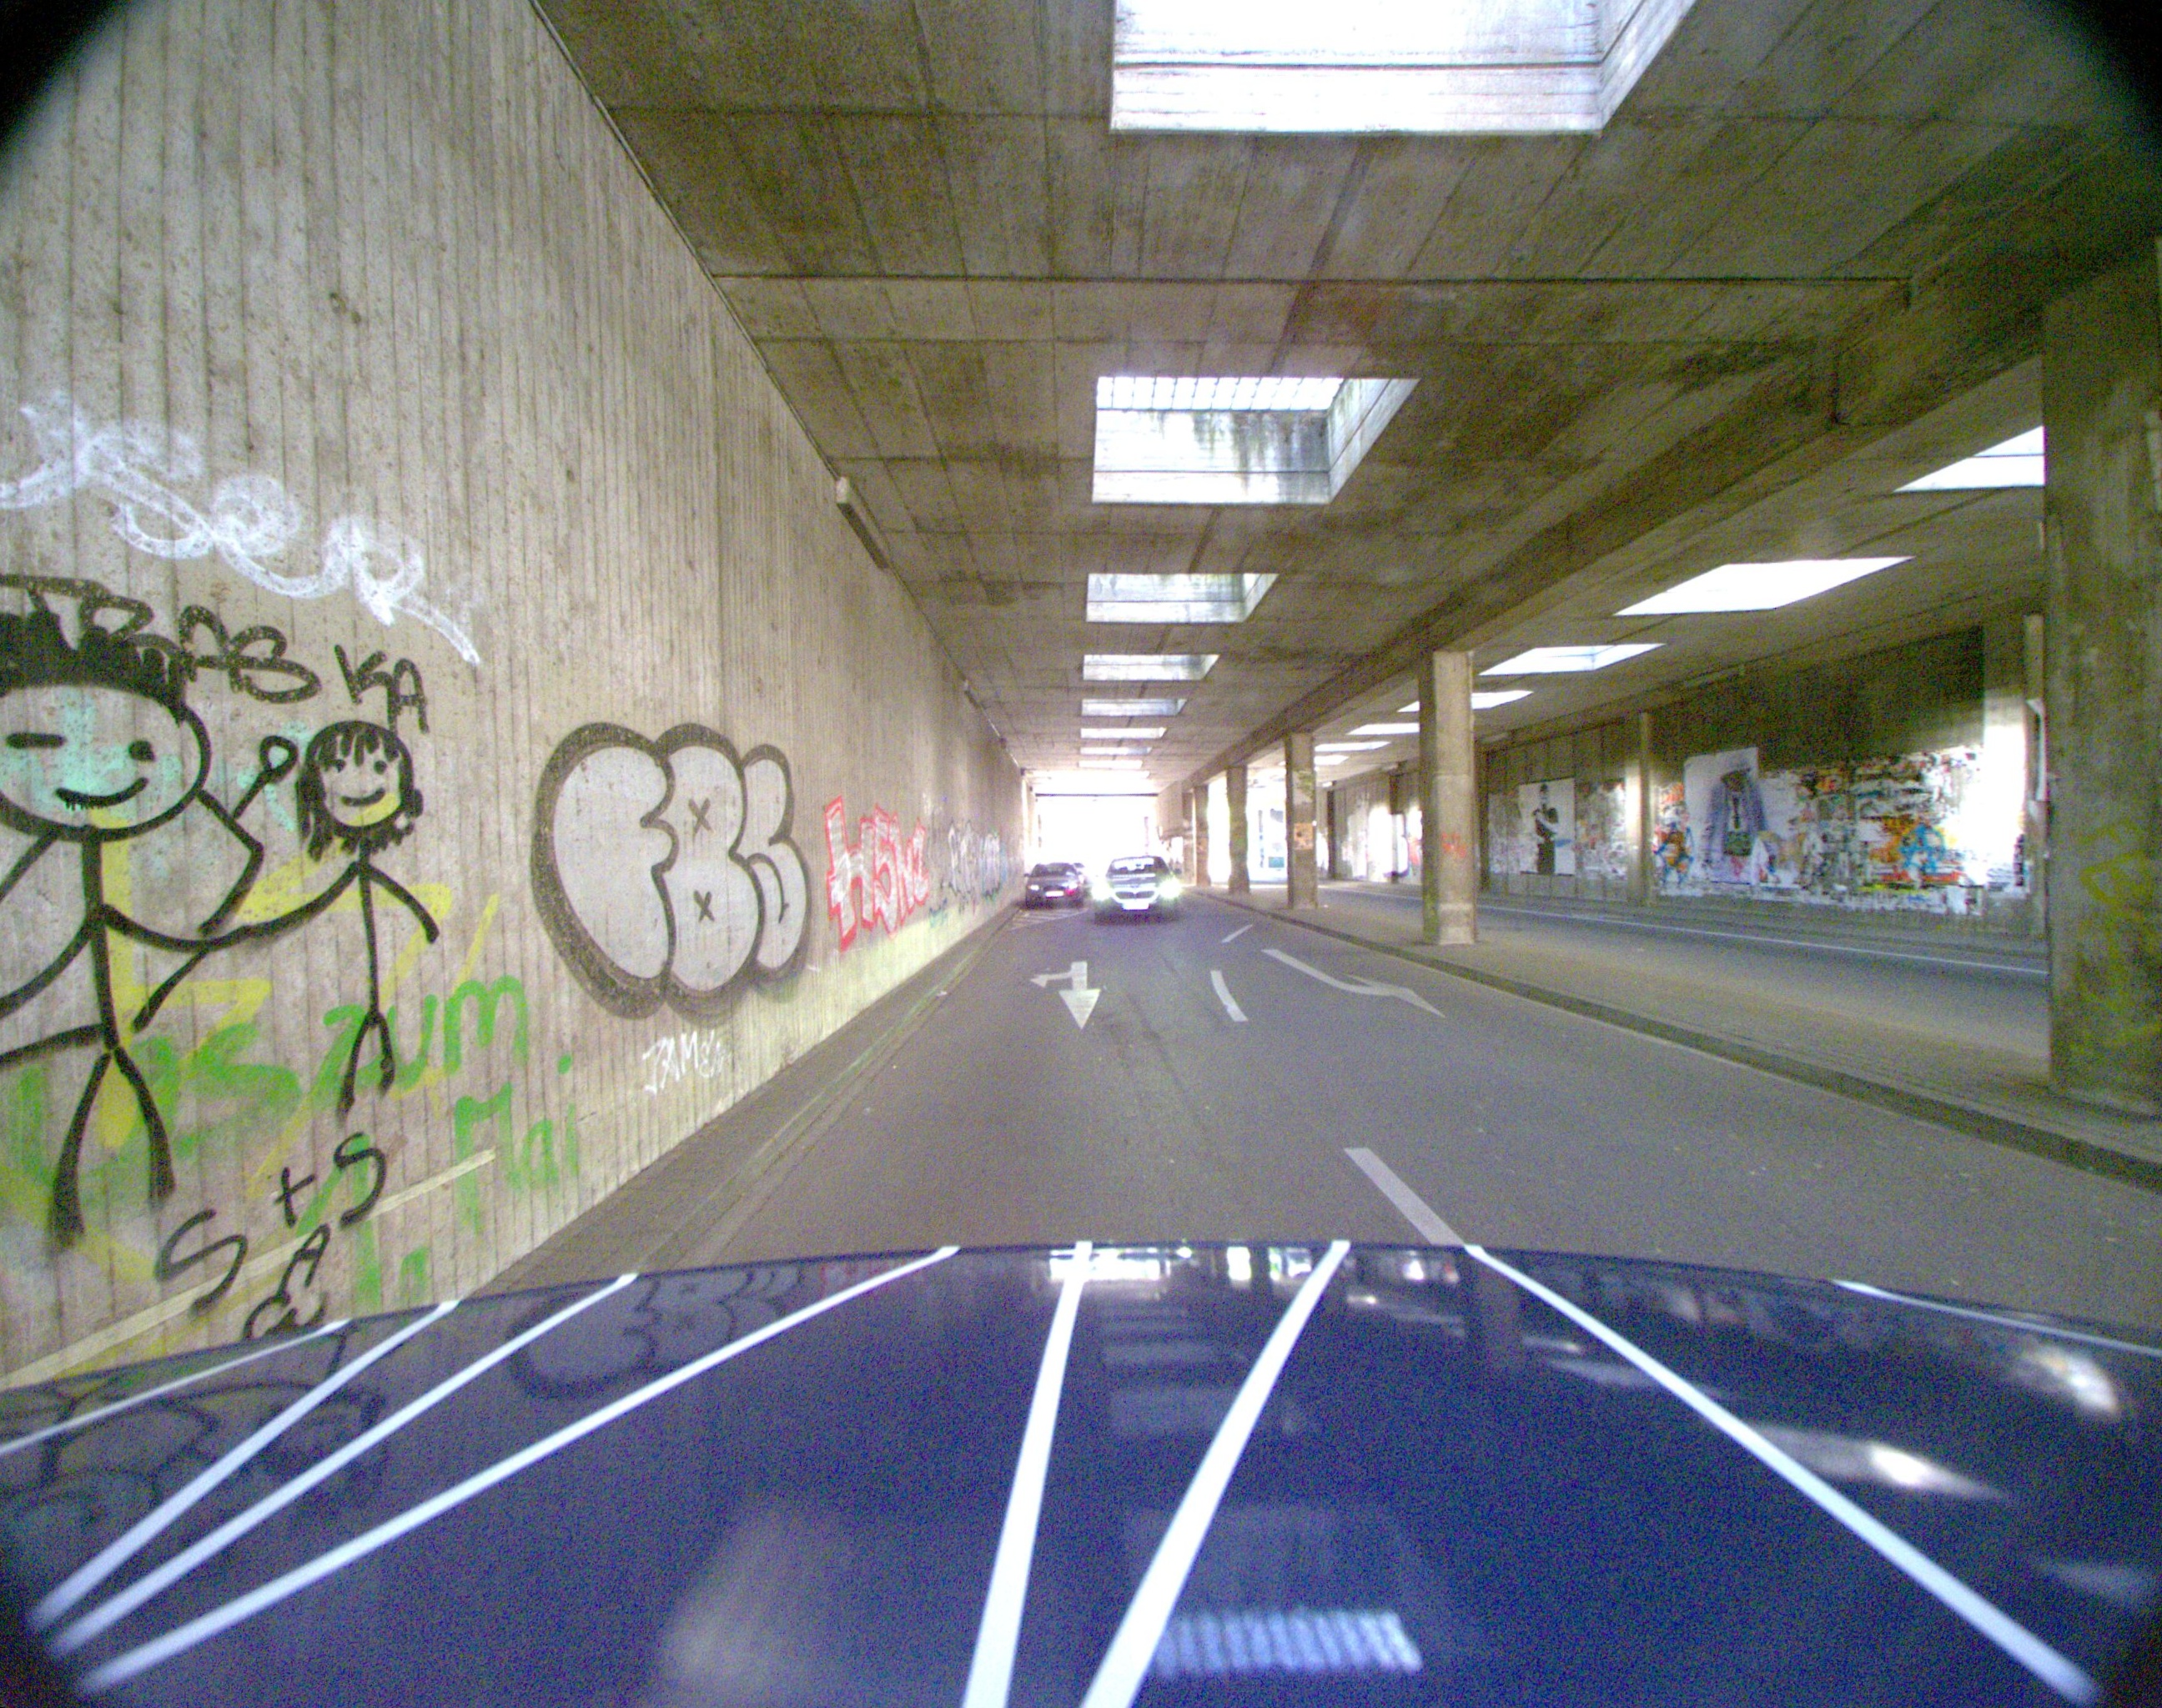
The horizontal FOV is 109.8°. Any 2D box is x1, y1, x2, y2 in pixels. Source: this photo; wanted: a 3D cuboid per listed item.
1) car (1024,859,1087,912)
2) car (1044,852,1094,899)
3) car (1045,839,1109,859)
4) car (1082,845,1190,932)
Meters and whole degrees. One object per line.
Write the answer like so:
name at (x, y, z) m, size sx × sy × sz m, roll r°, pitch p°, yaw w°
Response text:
car at (-0.716, 0.916, 23.993) m, size 1.767 × 1.407 × 3.999 m, roll -2°, pitch 1°, yaw 1°
car at (-0.512, 0.769, 29.876) m, size 1.767 × 1.634 × 3.999 m, roll -2°, pitch 1°, yaw -2°
car at (-0.380, -0.540, 79.034) m, size 6.536 × 1.740 × 2.000 m, roll -2°, pitch 1°, yaw 0°
car at (1.155, 0.694, 18.215) m, size 1.999 × 1.740 × 4.858 m, roll -2°, pitch 1°, yaw -2°
